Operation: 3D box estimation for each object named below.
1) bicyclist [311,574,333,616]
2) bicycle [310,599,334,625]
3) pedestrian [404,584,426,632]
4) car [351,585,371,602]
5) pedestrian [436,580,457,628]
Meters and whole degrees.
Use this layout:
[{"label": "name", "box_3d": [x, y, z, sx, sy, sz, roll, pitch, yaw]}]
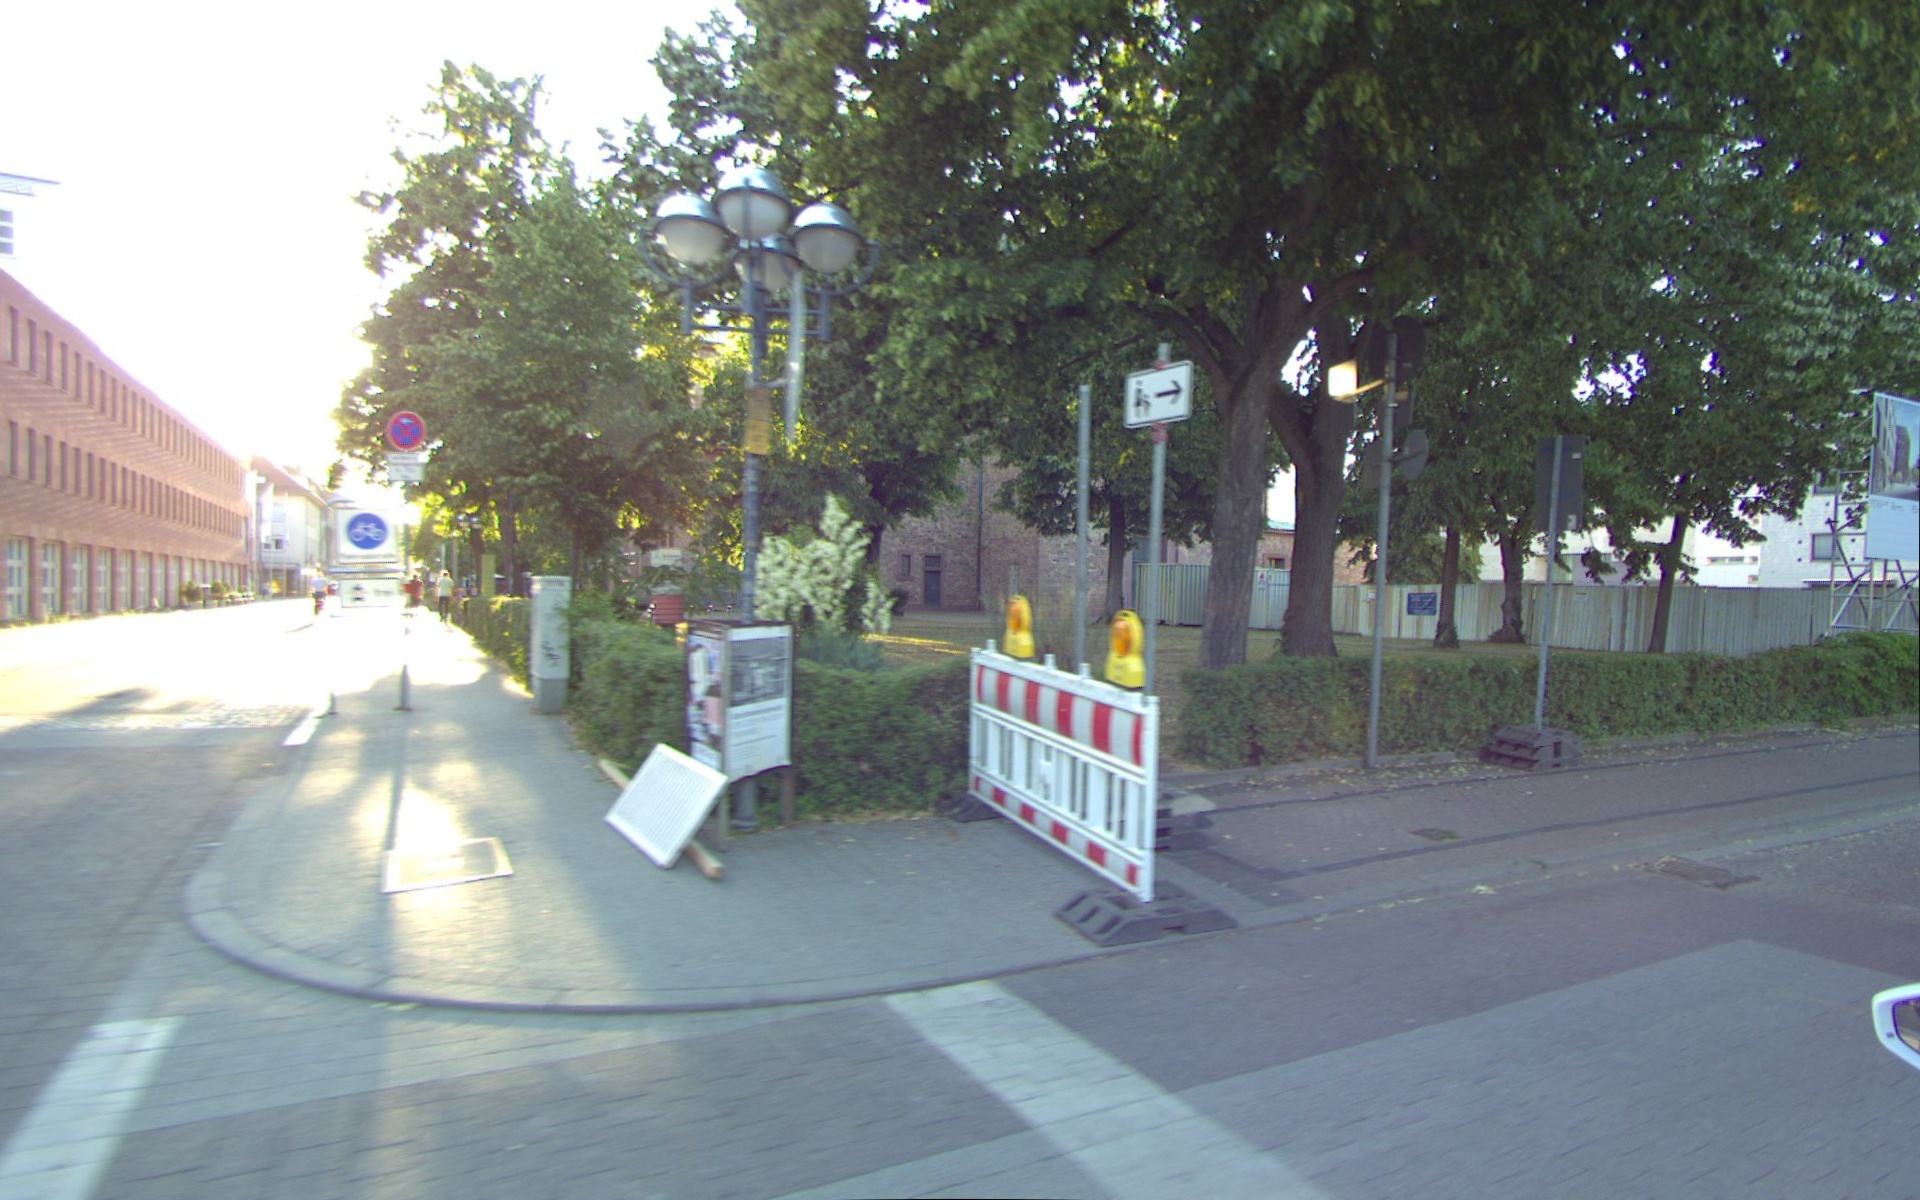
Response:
[{"label": "bicyclist", "box_3d": [-23.901, -0.179, 37.627, 0.621, 1.571, 0.672, 1, 0, -26]}, {"label": "bicycle", "box_3d": [-23.919, 0.425, 37.660, 0.526, 0.945, 1.823, 1, 0, -26]}, {"label": "pedestrian", "box_3d": [-19.617, 0.278, 36.147, 0.646, 1.715, 0.747, 1, 0, -26]}, {"label": "car", "box_3d": [-75.939, -0.804, 127.305, 1.975, 2.040, 3.970, 1, 0, -28]}, {"label": "pedestrian", "box_3d": [-18.722, 0.147, 36.640, 0.646, 1.715, 0.747, 1, 0, -26]}]
